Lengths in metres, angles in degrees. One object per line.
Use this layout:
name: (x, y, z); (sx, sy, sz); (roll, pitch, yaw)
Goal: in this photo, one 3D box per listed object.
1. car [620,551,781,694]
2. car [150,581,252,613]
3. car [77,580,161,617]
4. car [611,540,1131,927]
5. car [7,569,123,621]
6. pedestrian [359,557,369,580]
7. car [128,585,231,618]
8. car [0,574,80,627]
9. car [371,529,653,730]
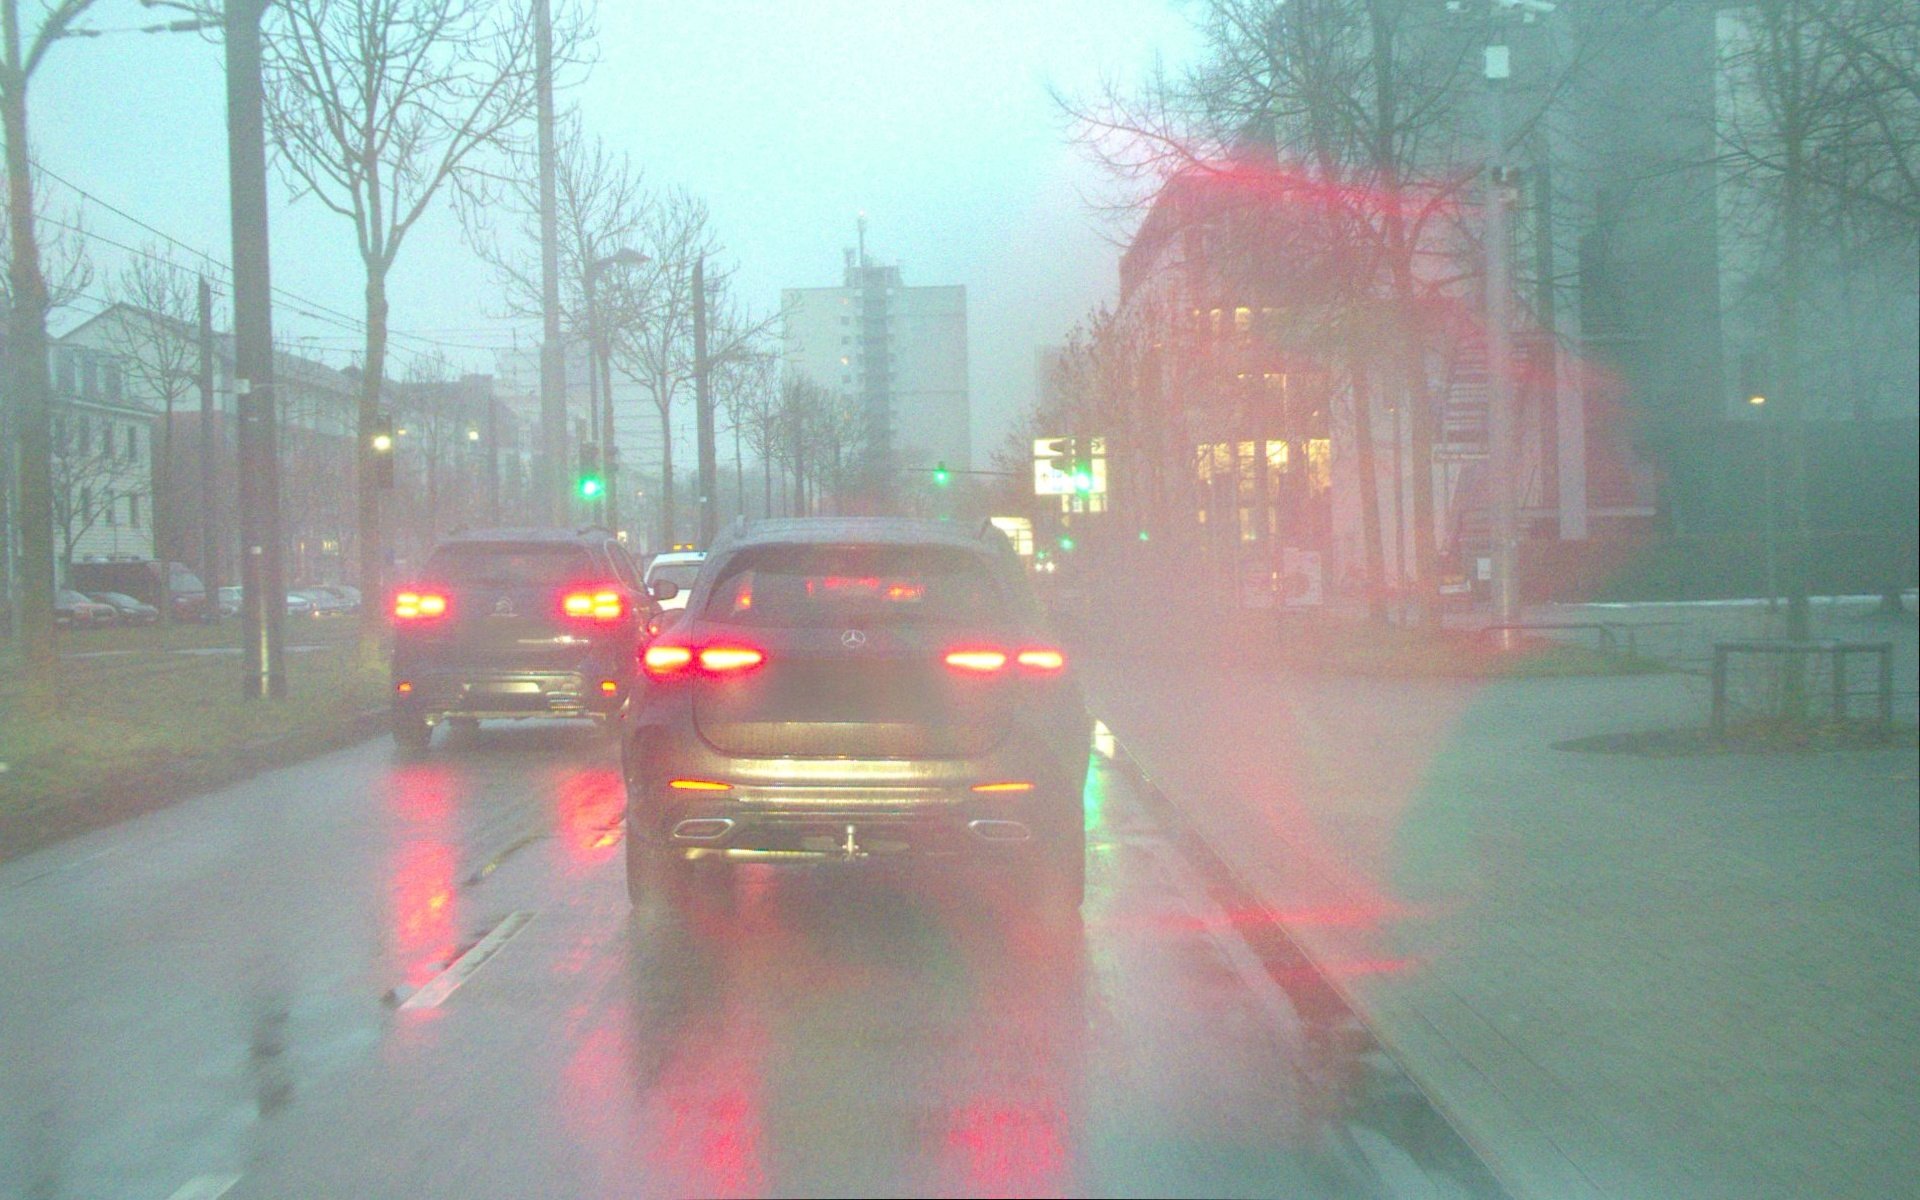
car: (-3.073, 0.238, 41.248); (1.689, 1.630, 3.474); (0, 1, -1)
car: (-29.205, -0.131, 132.275); (3.535, 1.196, 1.879); (1, 1, 31)
car: (-28.655, -0.055, 117.120); (2.886, 1.199, 1.385); (1, 1, 41)
car: (-0.361, 0.506, 15.095); (1.993, 1.478, 3.700); (0, 0, -1)
car: (-28.601, -0.172, 109.831); (3.846, 1.583, 1.738); (1, 1, 41)
pedestrian: (-30.812, -1.631, 177.719); (0.345, 1.180, 0.434); (0, 0, -41)
car: (-29.360, 0.050, 129.302); (3.535, 1.208, 1.744); (1, 1, 31)
car: (-28.580, -0.006, 103.660); (4.158, 1.536, 1.666); (1, 1, 36)
car: (-3.418, 0.194, 26.848); (1.817, 1.445, 4.000); (0, 1, -2)
